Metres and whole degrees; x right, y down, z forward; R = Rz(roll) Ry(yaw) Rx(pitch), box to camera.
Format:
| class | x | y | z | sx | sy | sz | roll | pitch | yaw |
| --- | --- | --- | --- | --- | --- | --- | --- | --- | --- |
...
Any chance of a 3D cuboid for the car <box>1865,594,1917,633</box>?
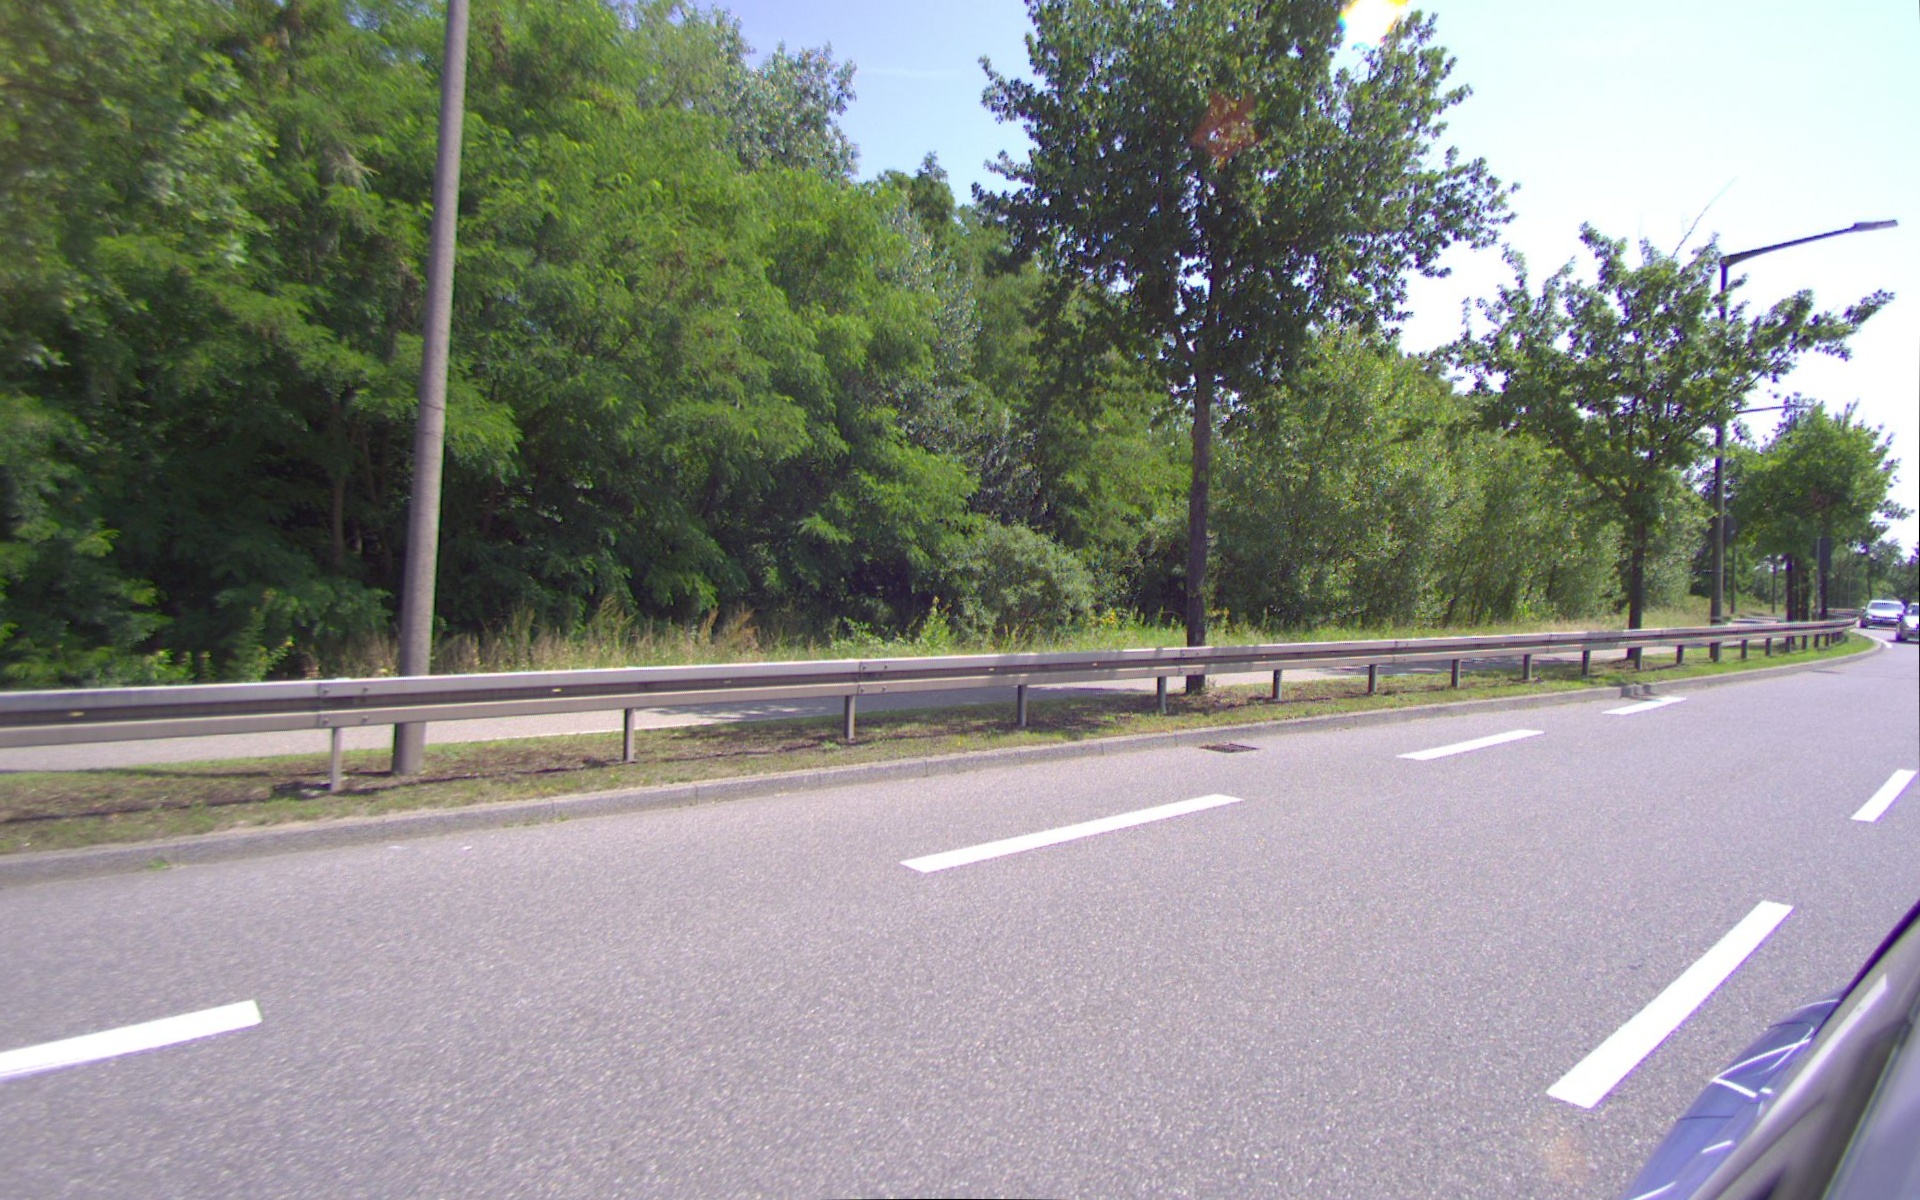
| class | x | y | z | sx | sy | sz | roll | pitch | yaw |
| --- | --- | --- | --- | --- | --- | --- | --- | --- | --- |
| car | 46.888 | 0.630 | 50.933 | 1.795 | 1.804 | 4.225 | 4 | 3 | 44 |

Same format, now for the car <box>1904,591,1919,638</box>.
| class | x | y | z | sx | sy | sz | roll | pitch | yaw |
| --- | --- | --- | --- | --- | --- | --- | --- | --- | --- |
| car | 34.113 | 0.495 | 35.154 | 1.760 | 1.517 | 4.165 | 2 | 2 | 45 |
